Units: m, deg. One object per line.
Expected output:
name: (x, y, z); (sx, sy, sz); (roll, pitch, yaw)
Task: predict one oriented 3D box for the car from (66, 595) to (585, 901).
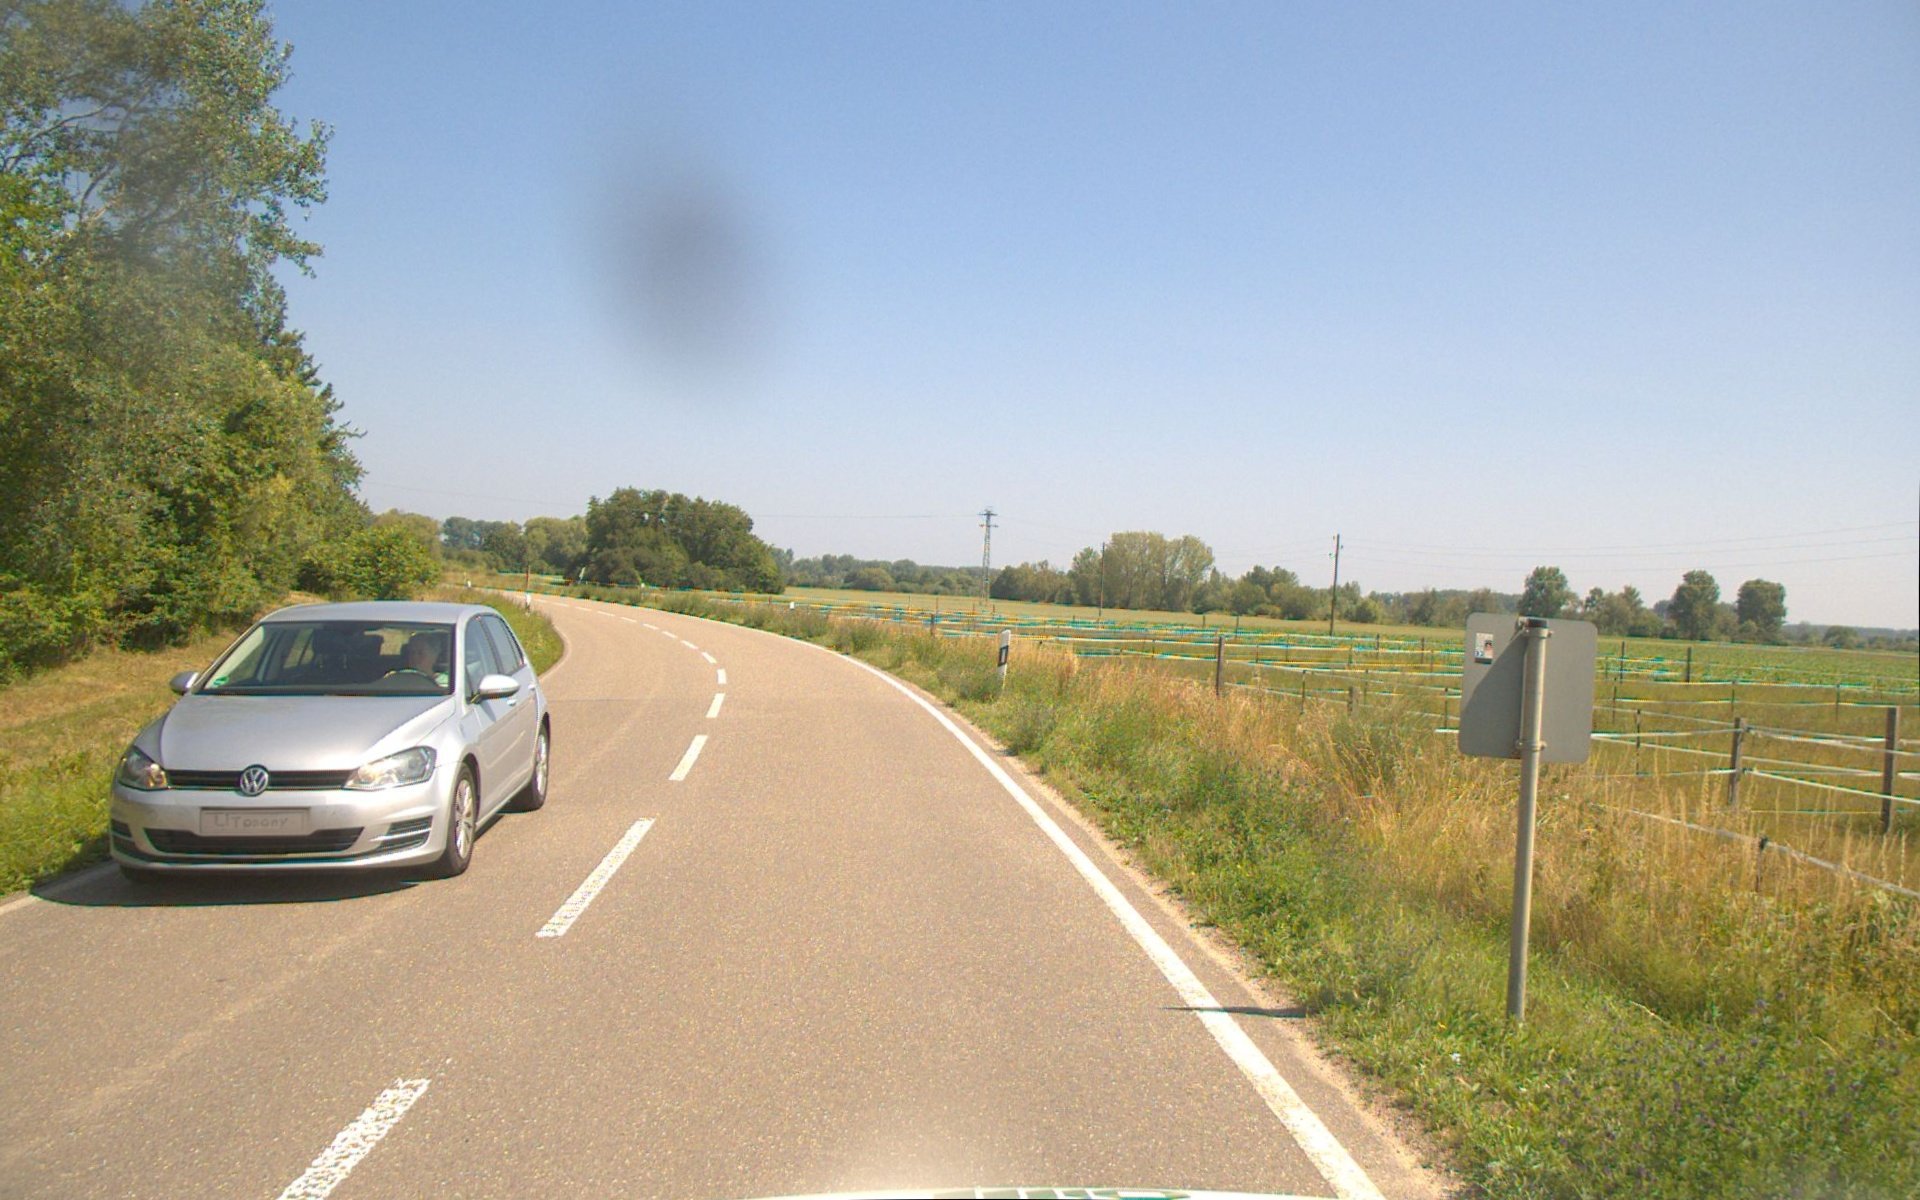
car: (-3.567, 0.714, 10.146); (1.748, 1.452, 4.058); (-1, 0, -3)
